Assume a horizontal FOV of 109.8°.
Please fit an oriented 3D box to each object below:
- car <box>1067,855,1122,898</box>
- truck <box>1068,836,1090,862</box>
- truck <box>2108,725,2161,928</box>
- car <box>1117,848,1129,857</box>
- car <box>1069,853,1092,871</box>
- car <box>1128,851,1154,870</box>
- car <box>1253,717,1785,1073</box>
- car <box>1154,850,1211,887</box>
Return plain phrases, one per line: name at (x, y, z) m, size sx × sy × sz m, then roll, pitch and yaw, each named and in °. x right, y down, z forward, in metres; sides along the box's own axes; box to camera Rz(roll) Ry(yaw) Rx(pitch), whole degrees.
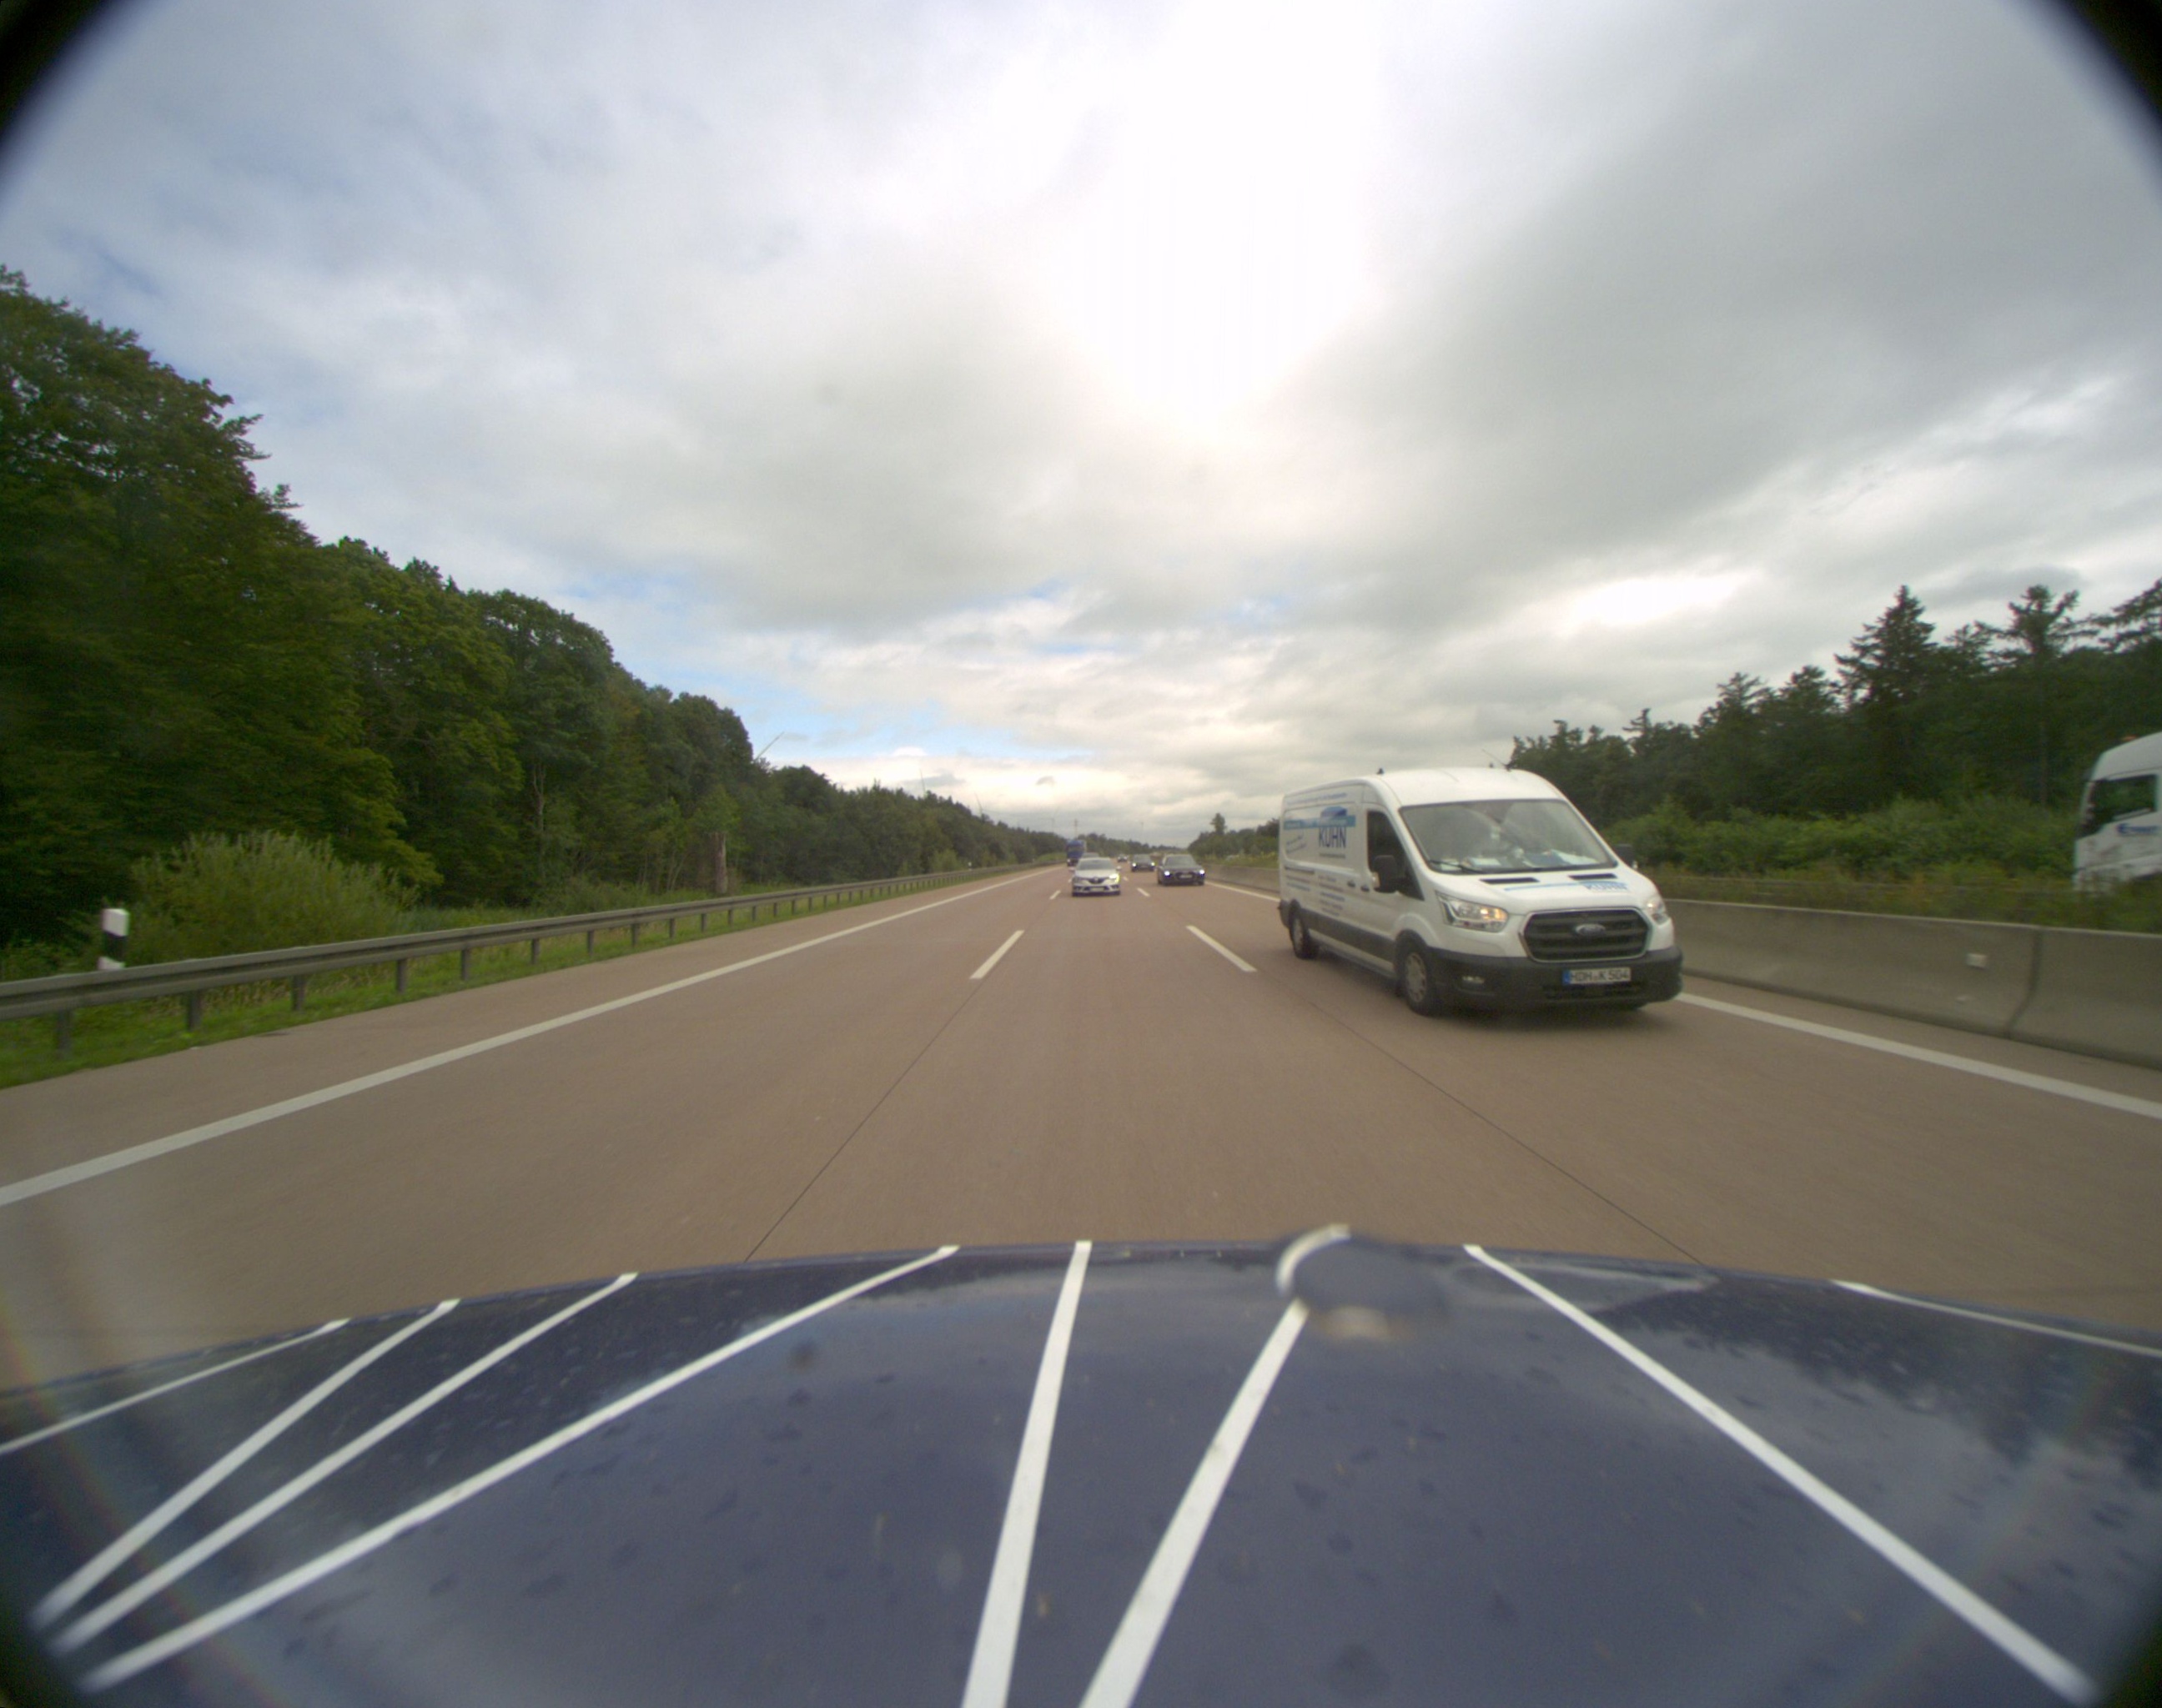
car at (0.541, 0.818, 29.620) m, size 1.923 × 1.516 × 4.000 m, roll -2°, pitch 0°, yaw 1°
truck at (-0.342, -0.748, 117.164) m, size 2.956 × 3.705 × 7.948 m, roll -5°, pitch 0°, yaw 0°
truck at (19.470, -0.502, 10.629) m, size 2.941 × 3.399 × 5.344 m, roll -2°, pitch 0°, yaw 1°
car at (8.322, -0.382, 150.802) m, size 1.999 × 1.689 × 5.251 m, roll -2°, pitch 1°, yaw 0°
car at (-0.013, 0.682, 67.025) m, size 1.986 × 1.499 × 4.052 m, roll -2°, pitch 1°, yaw 1°
car at (5.246, 0.530, 66.697) m, size 2.063 × 1.483 × 5.454 m, roll -2°, pitch 1°, yaw 4°
car at (3.936, 0.281, 8.985) m, size 2.143 × 2.492 × 7.130 m, roll -1°, pitch 0°, yaw 0°
car at (4.789, 0.618, 36.593) m, size 2.090 × 1.541 × 5.674 m, roll -2°, pitch 0°, yaw 2°
